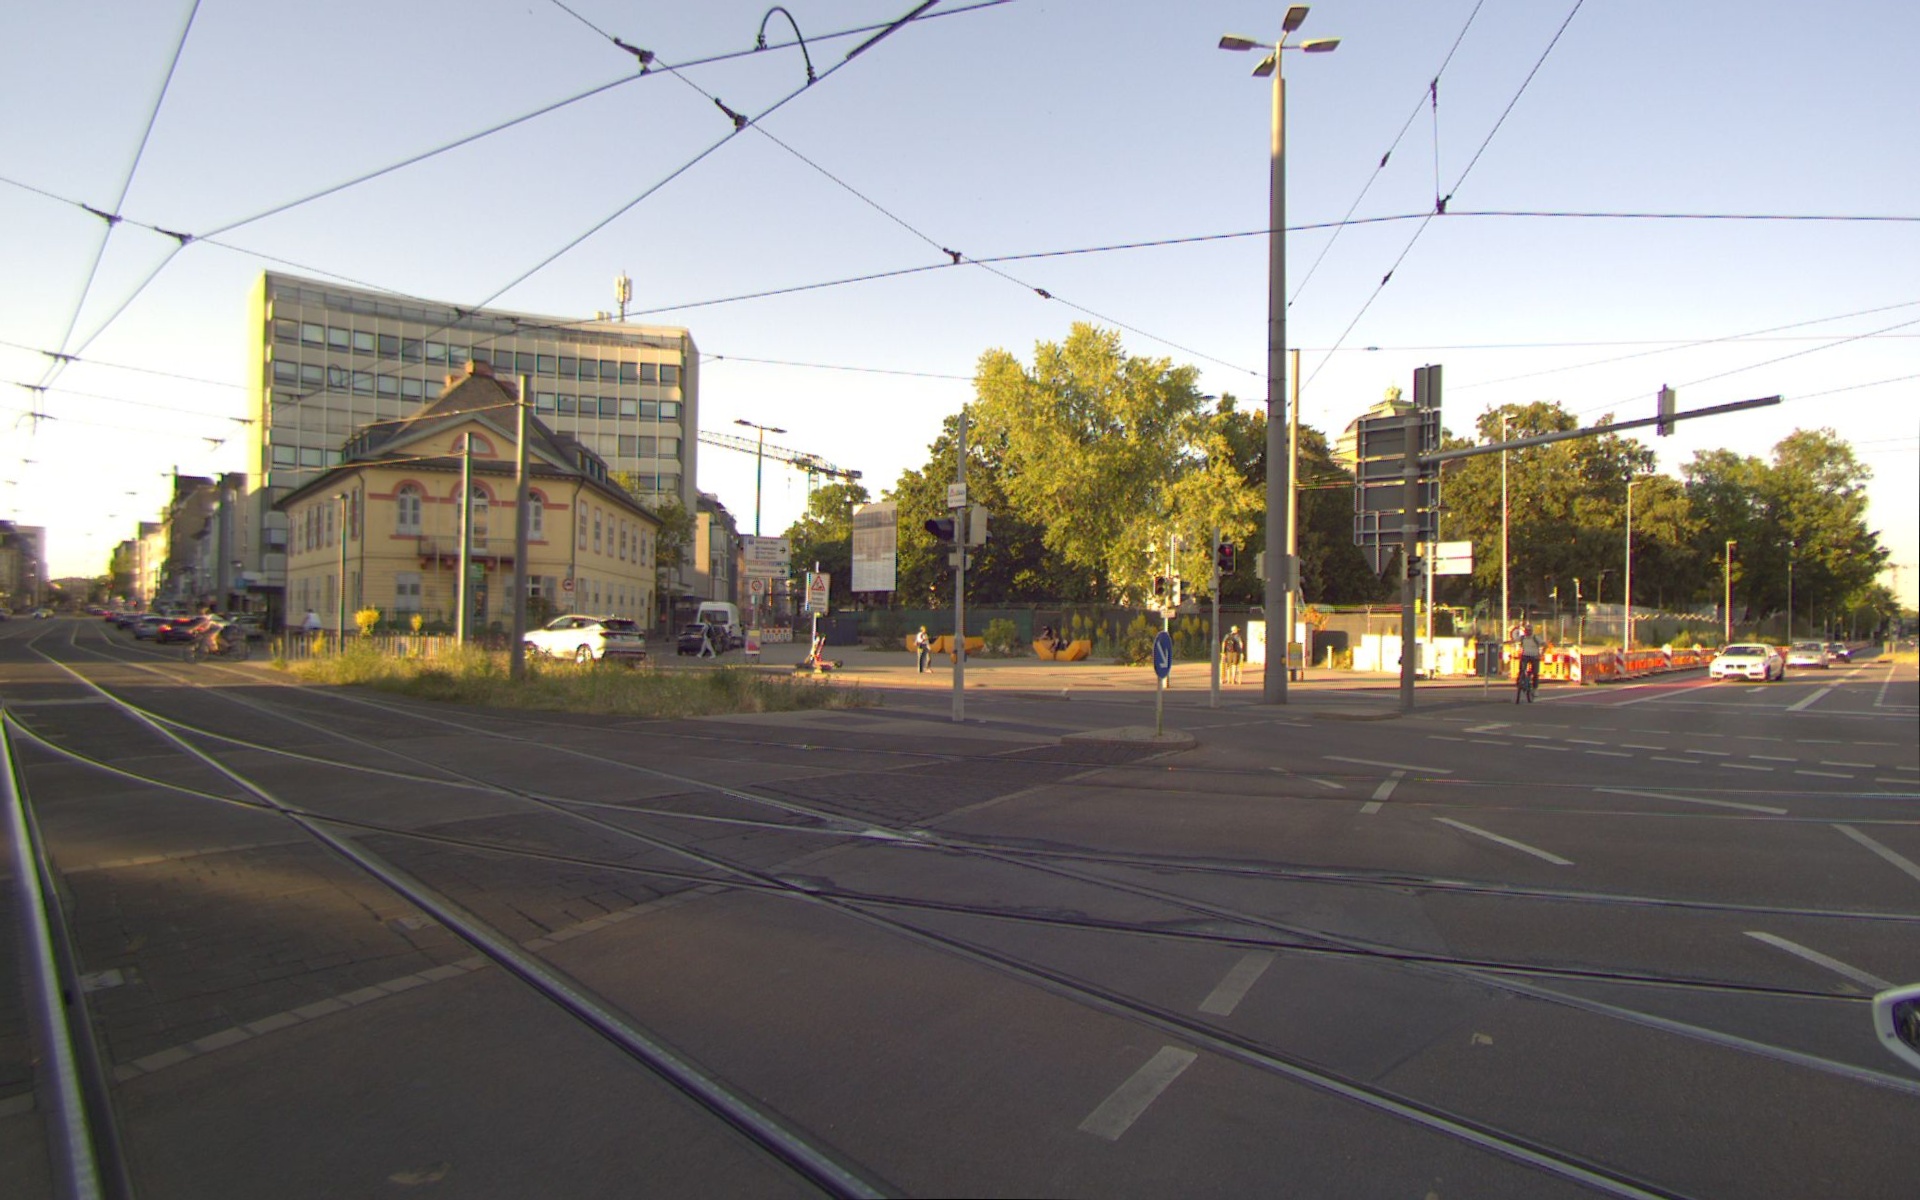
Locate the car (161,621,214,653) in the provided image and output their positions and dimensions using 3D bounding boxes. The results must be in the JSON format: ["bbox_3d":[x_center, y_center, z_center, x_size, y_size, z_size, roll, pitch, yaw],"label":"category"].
[{"bbox_3d":[-42.175,1.965,54.804,1.985,1.537,4.361,-1,1,-42],"label":"car"}]

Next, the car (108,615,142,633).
[{"bbox_3d":[-74.087,2.106,89.131,2.005,1.447,4.595,1,-1,-44],"label":"car"}]

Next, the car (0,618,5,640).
[{"bbox_3d":[-72.795,2.148,74.567,2.185,1.580,4.235,2,-2,-37],"label":"car"}]

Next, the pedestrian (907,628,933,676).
[{"bbox_3d":[-1.390,1.782,34.732,0.683,1.635,0.590,1,-1,-37],"label":"pedestrian"}]

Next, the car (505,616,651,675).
[{"bbox_3d":[-11.963,1.379,31.382,4.457,1.683,1.945,0,-1,32],"label":"car"}]

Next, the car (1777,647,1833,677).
[{"bbox_3d":[46.339,3.383,55.074,3.695,1.581,1.662,3,-4,-39],"label":"car"}]

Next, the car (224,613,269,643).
[{"bbox_3d":[-42.661,1.645,60.007,1.725,1.731,3.395,2,-2,-43],"label":"car"}]

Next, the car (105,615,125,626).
[{"bbox_3d":[-119.790,2.845,142.356,3.945,1.528,1.839,-1,-2,44],"label":"car"}]

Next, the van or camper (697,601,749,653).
[{"bbox_3d":[-13.557,1.555,57.821,2.045,2.811,6.445,1,-2,-6],"label":"van or camper"}]

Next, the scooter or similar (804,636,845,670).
[{"bbox_3d":[-4.850,1.915,36.065,1.376,1.181,0.461,1,-1,1],"label":"scooter or similar"}]

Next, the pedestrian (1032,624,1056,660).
[{"bbox_3d":[4.015,2.016,47.964,0.815,1.687,0.755,1,-1,-39],"label":"pedestrian"}]

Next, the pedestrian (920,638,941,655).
[{"bbox_3d":[-1.577,2.476,53.873,0.964,0.905,0.561,0,-1,29],"label":"pedestrian"}]

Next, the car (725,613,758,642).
[{"bbox_3d":[-14.608,1.829,67.375,1.686,1.873,4.018,1,-1,-6],"label":"car"}]

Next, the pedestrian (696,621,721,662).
[{"bbox_3d":[-10.980,1.784,43.830,0.862,1.747,0.829,2,-1,-4],"label":"pedestrian"}]

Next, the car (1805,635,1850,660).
[{"bbox_3d":[59.602,3.245,68.976,4.361,1.638,1.920,2,-2,-43],"label":"car"}]

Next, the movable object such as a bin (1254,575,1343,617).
[{"bbox_3d":[17.362,-0.162,51.841,1.966,2.040,5.010,1,-1,-15],"label":"movable object such as a bin"}]

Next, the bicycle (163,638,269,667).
[{"bbox_3d":[-22.302,1.579,30.183,2.386,0.858,0.843,1,-2,-20],"label":"bicycle"}]

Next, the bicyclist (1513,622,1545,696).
[{"bbox_3d":[13.309,1.371,23.478,0.586,1.693,0.746,0,-1,34],"label":"bicyclist"}]

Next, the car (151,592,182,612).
[{"bbox_3d":[-82.213,0.223,104.058,3.945,1.973,1.988,0,-2,44],"label":"car"}]

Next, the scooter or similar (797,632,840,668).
[{"bbox_3d":[-5.256,1.845,37.266,1.496,1.276,0.612,1,-1,0],"label":"scooter or similar"}]

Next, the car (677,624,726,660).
[{"bbox_3d":[-12.077,1.950,47.152,1.752,1.564,4.284,1,-1,-9],"label":"car"}]

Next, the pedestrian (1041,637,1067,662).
[{"bbox_3d":[4.387,2.307,46.830,0.982,1.173,0.726,2,-2,-40],"label":"pedestrian"}]

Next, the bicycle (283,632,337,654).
[{"bbox_3d":[-26.795,1.771,41.422,1.774,0.904,0.675,2,-1,-28],"label":"bicycle"}]

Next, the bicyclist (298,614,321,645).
[{"bbox_3d":[-26.834,1.208,41.440,0.720,1.274,0.663,1,-1,-29],"label":"bicyclist"}]

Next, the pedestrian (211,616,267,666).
[{"bbox_3d":[-22.610,1.277,31.504,1.024,1.523,1.004,1,-1,-5],"label":"pedestrian"}]

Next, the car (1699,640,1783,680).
[{"bbox_3d":[30.259,2.289,38.878,4.273,1.424,1.893,2,-3,-43],"label":"car"}]

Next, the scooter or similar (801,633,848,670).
[{"bbox_3d":[-4.924,1.882,36.542,1.620,1.310,0.461,1,-1,0],"label":"scooter or similar"}]

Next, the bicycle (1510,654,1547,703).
[{"bbox_3d":[13.275,1.812,23.437,0.586,1.036,1.842,0,-1,34],"label":"bicycle"}]

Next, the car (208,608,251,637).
[{"bbox_3d":[-46.421,1.428,63.815,1.726,1.731,3.757,3,-2,-43],"label":"car"}]

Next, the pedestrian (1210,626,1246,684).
[{"bbox_3d":[8.423,1.719,31.552,0.925,1.758,0.822,1,-1,3],"label":"pedestrian"}]

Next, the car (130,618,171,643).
[{"bbox_3d":[-49.983,1.870,61.984,1.900,1.429,4.288,2,-2,-39],"label":"car"}]

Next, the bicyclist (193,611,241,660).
[{"bbox_3d":[-22.329,1.064,30.203,0.916,1.460,0.831,1,-1,-20],"label":"bicyclist"}]
